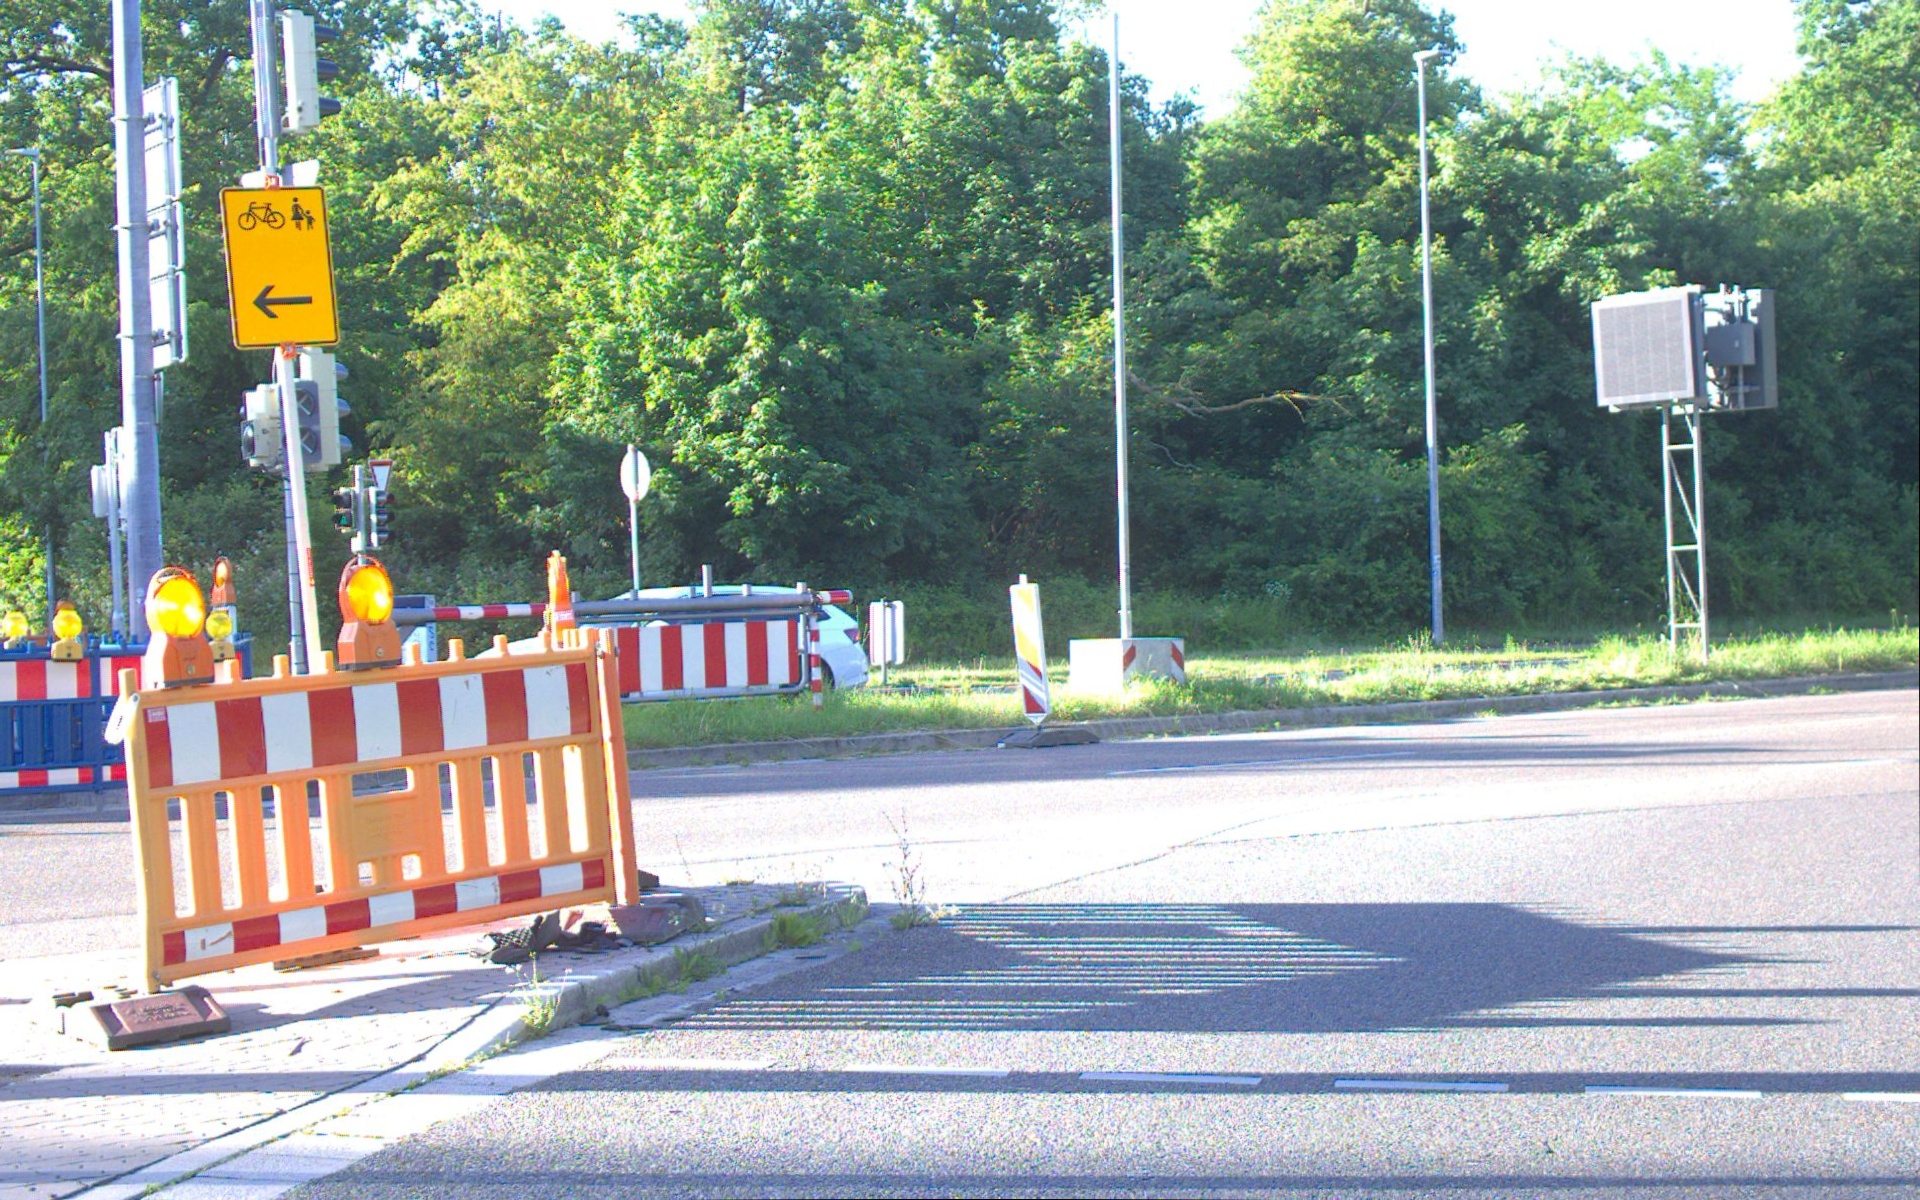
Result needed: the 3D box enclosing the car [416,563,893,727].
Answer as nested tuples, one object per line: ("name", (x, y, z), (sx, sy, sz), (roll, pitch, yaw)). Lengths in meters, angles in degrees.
("car", (-3.269, 0.455, 37.308), (4.819, 1.575, 1.999), (-2, 1, -39))
